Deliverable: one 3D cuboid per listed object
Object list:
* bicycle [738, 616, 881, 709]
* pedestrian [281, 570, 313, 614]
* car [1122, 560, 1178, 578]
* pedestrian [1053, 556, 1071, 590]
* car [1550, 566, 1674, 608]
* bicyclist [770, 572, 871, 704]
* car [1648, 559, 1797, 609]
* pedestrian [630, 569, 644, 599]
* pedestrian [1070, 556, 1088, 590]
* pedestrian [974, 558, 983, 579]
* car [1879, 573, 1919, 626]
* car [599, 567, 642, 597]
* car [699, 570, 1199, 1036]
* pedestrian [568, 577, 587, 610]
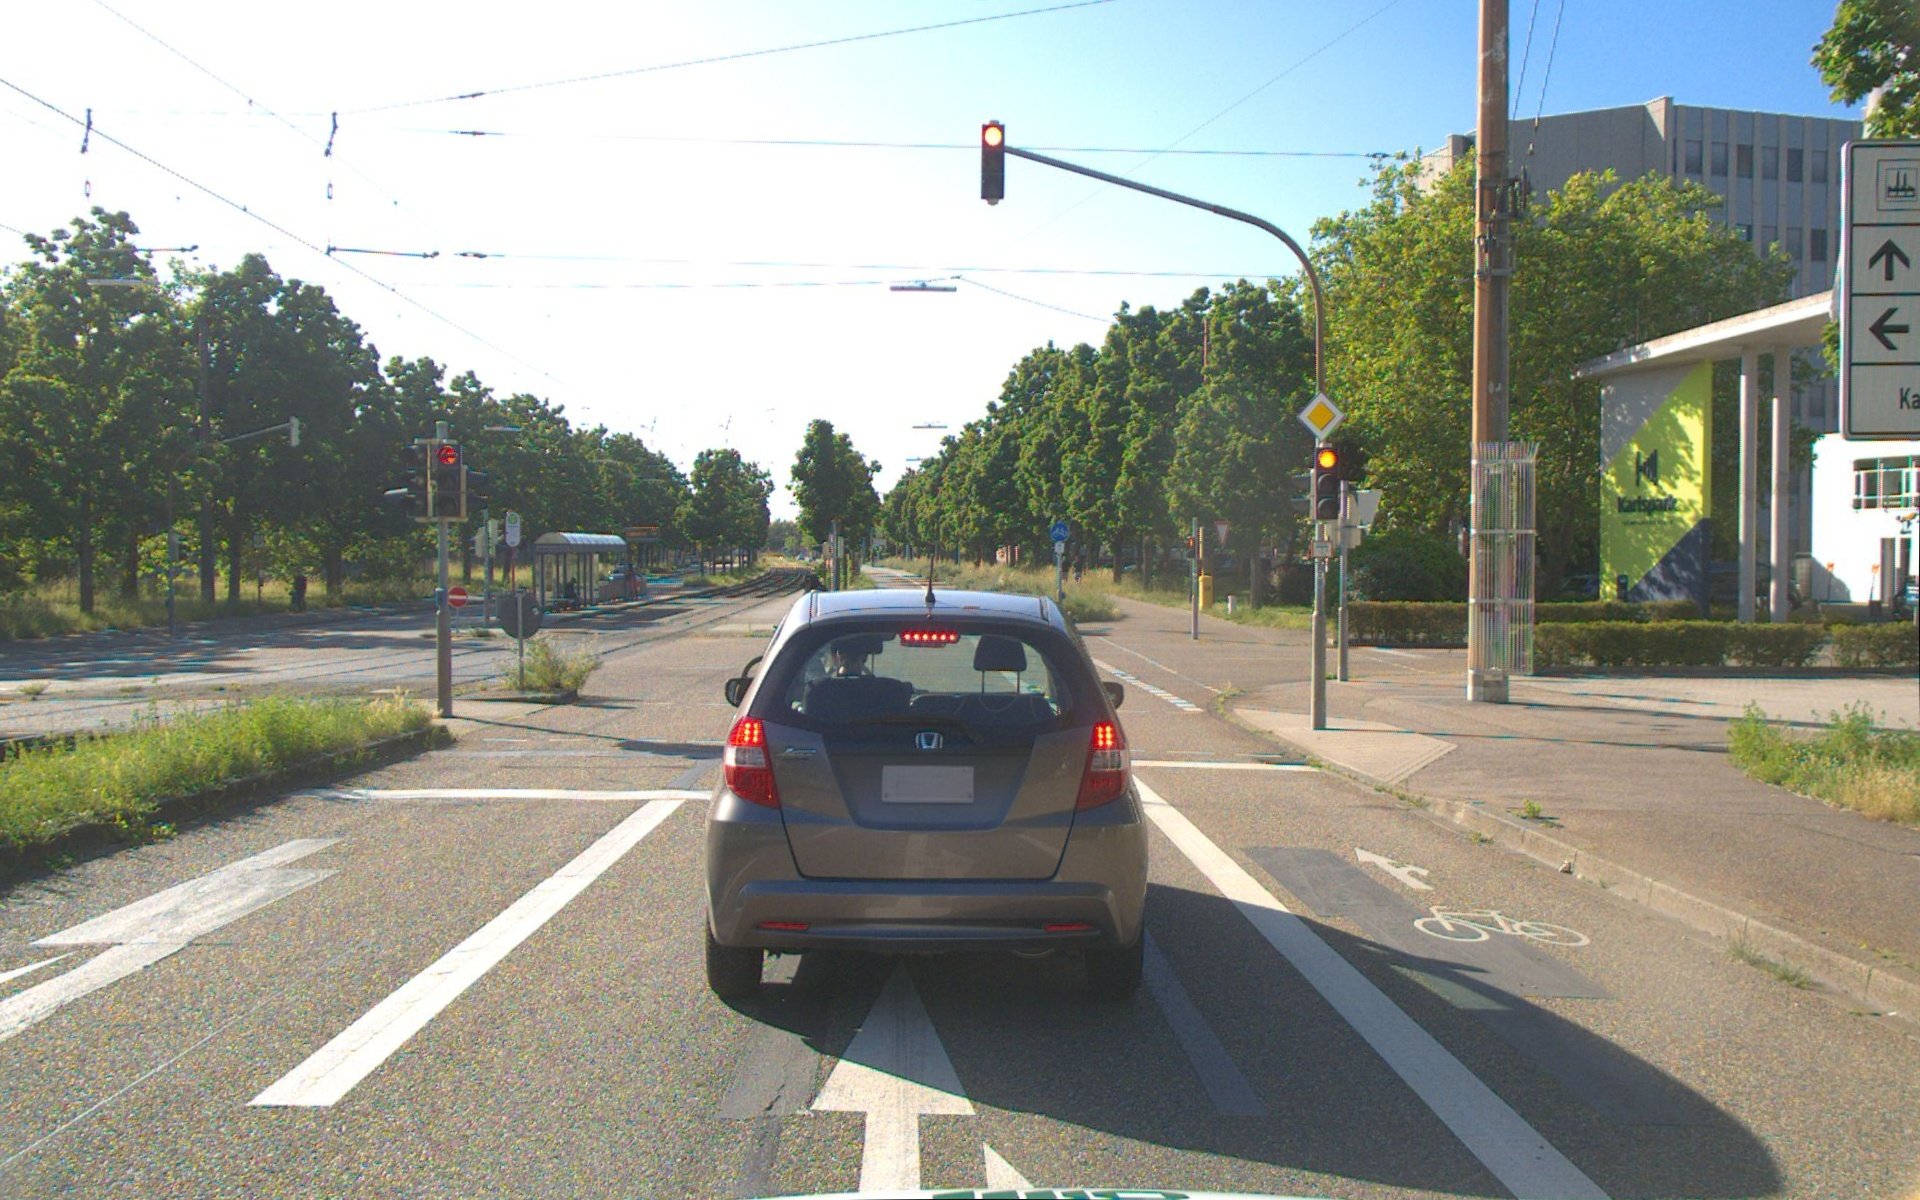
[{"bbox_3d":[-1.883,0.782,20.849,1.739,1.121,0.698,0,0,-2],"label":"bicycle"},{"bbox_3d":[-26.856,-0.333,67.039,0.744,1.764,0.936,0,1,27],"label":"pedestrian"},{"bbox_3d":[16.639,-2.739,144.825,4.543,1.582,1.997,-1,1,-7],"label":"car"},{"bbox_3d":[5.690,-1.515,92.153,0.865,1.917,0.875,0,1,-5],"label":"pedestrian"},{"bbox_3d":[26.632,-0.544,67.605,4.371,1.715,1.892,0,1,-7],"label":"car"},{"bbox_3d":[-1.742,0.465,20.777,1.208,1.621,0.805,0,0,-2],"label":"bicyclist"},{"bbox_3d":[27.998,-0.611,60.764,4.803,1.787,2.083,0,1,-16],"label":"car"},{"bbox_3d":[-15.589,-0.769,79.854,0.533,1.473,0.559,-1,0,-1],"label":"pedestrian"},{"bbox_3d":[6.613,-1.499,92.193,0.865,1.917,0.875,0,1,-5],"label":"pedestrian"},{"bbox_3d":[1.526,-2.630,139.794,0.710,1.720,0.820,0,-1,-3],"label":"pedestrian"},{"bbox_3d":[30.629,-0.018,50.736,3.914,1.605,1.950,0,1,-10],"label":"car"},{"bbox_3d":[-22.940,-1.233,111.852,2.052,1.841,4.791,-2,2,-3],"label":"car"},{"bbox_3d":[-0.059,0.680,7.412,1.666,1.550,3.709,1,0,-1],"label":"car"},{"bbox_3d":[-15.098,-0.268,65.301,0.552,1.279,0.580,-2,0,-2],"label":"pedestrian"}]
